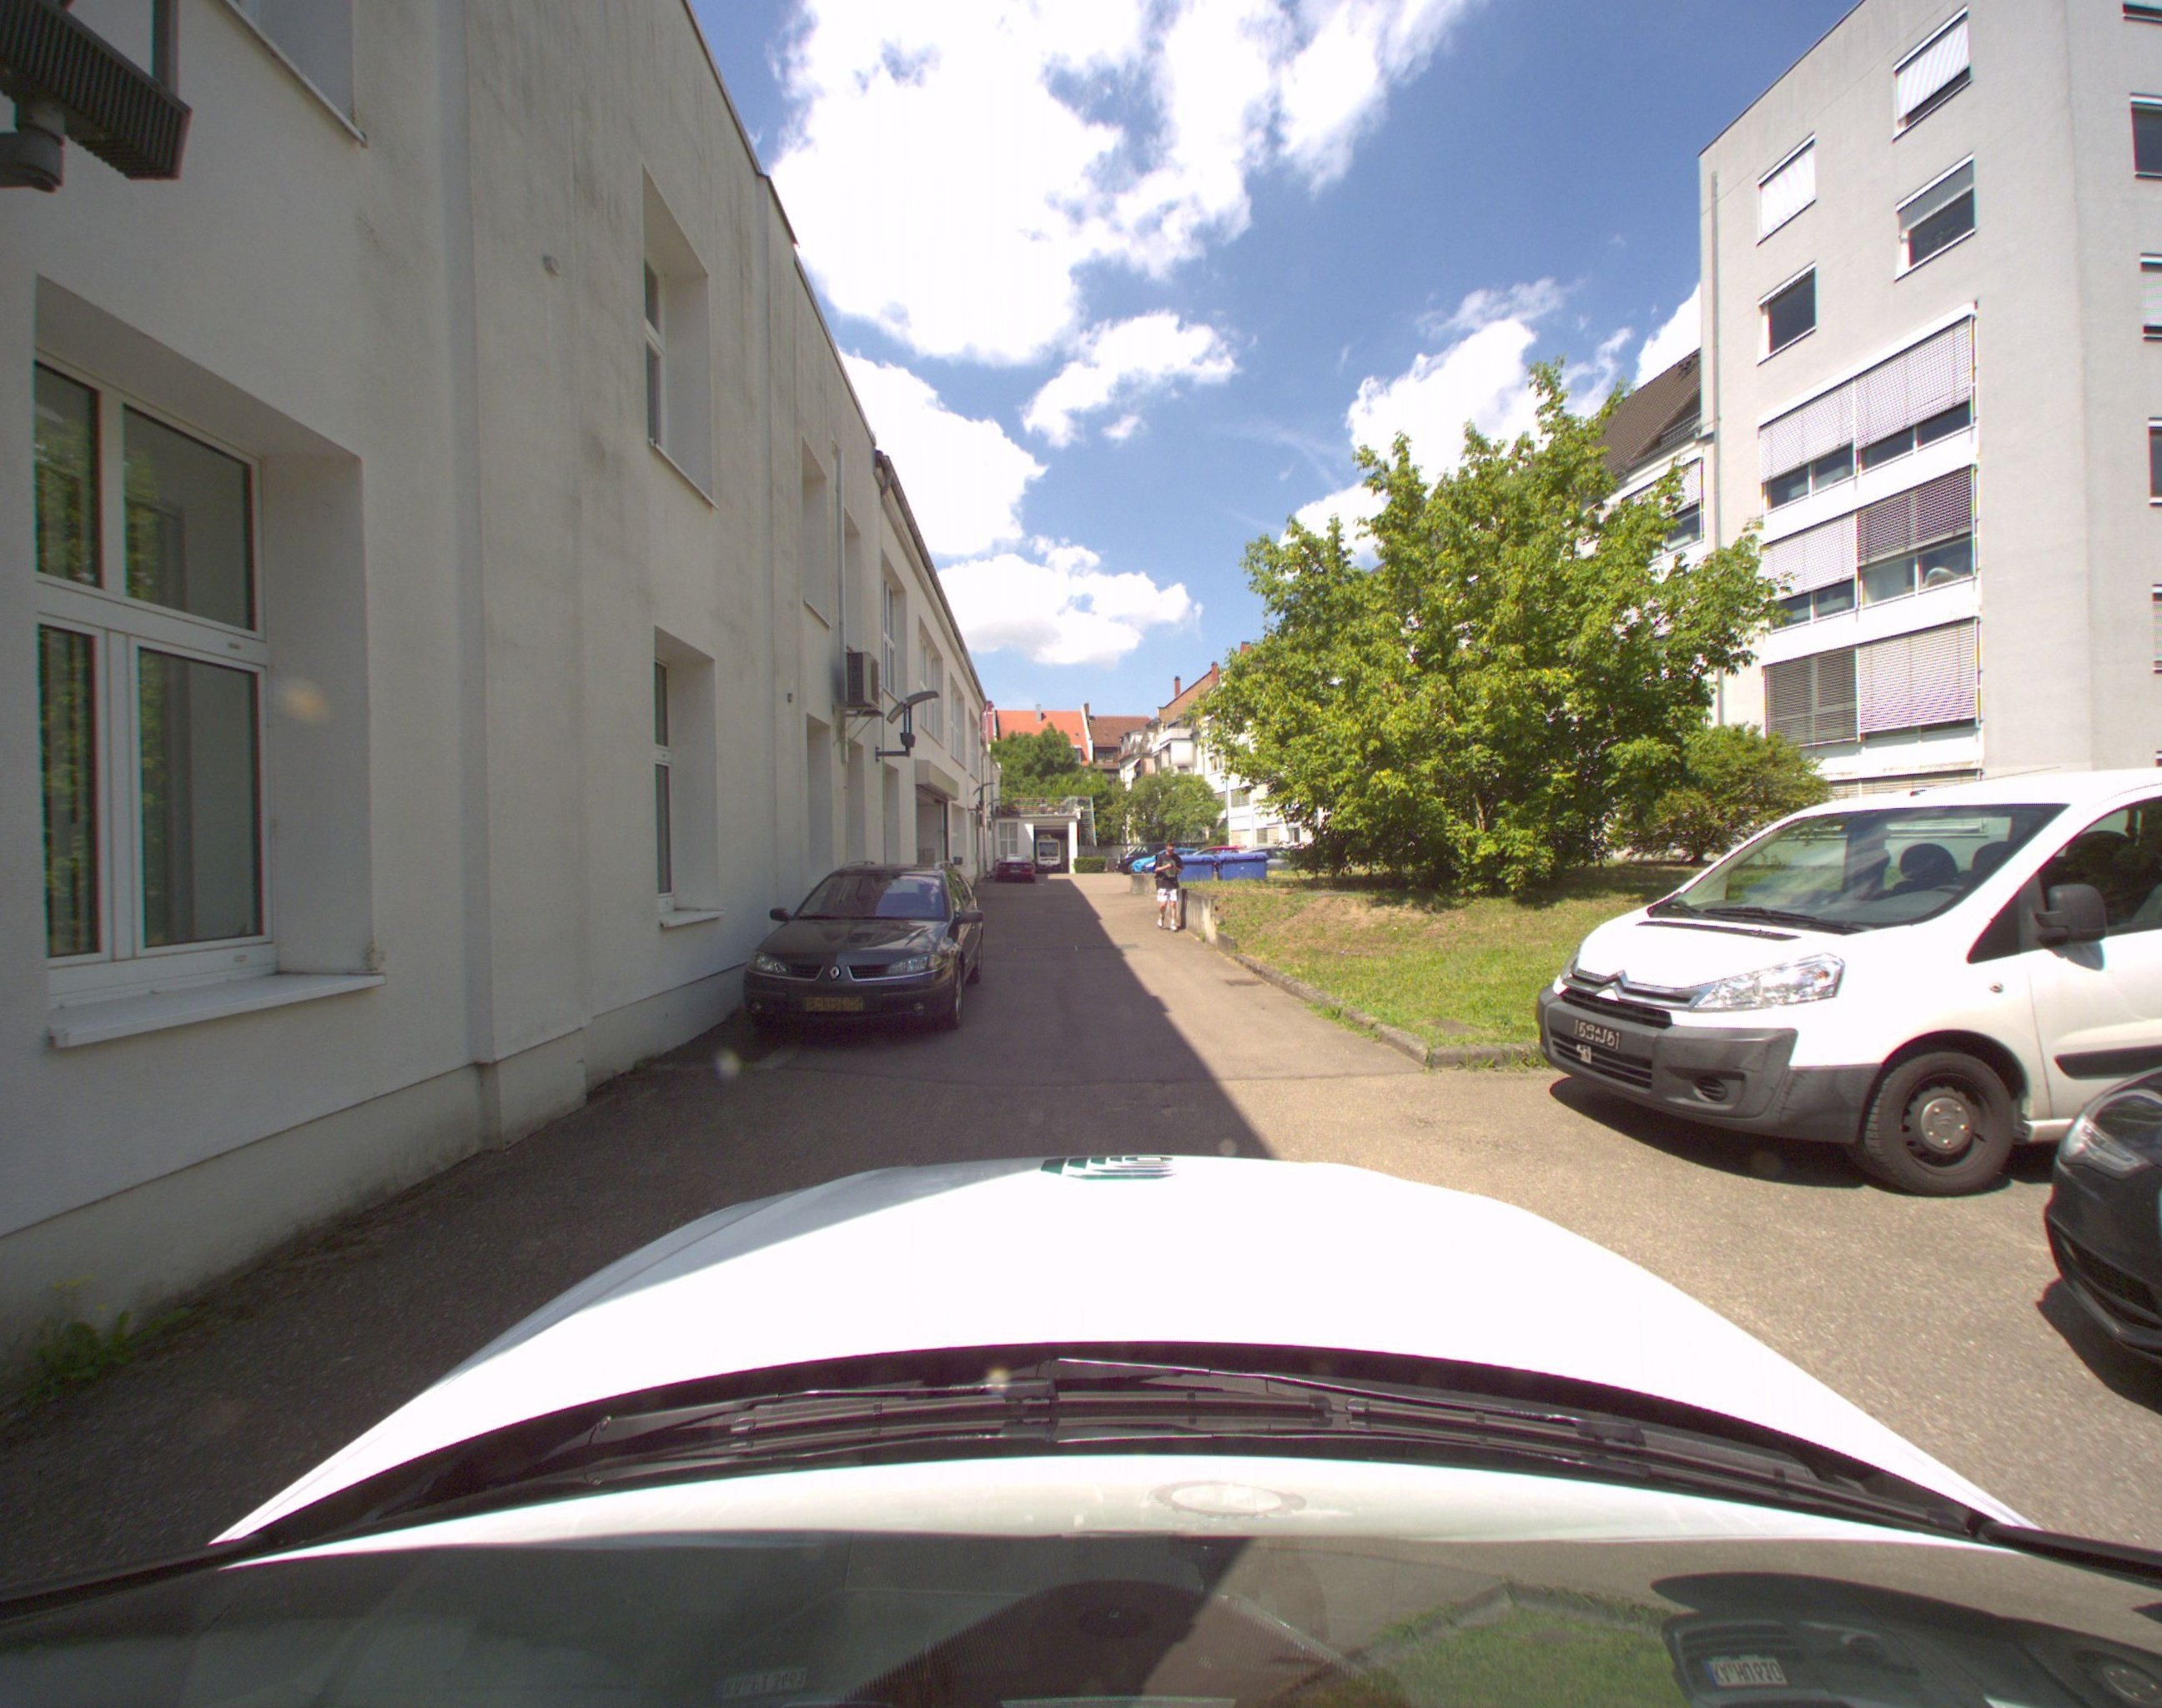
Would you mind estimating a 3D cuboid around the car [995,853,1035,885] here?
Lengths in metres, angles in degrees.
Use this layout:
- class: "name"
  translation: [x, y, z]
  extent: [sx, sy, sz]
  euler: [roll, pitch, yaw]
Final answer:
- class: "car"
  translation: [-3.197, 0.701, 40.043]
  extent: [1.795, 1.390, 3.995]
  euler: [-2, 1, -3]

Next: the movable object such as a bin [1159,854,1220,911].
- class: "movable object such as a bin"
  translation: [2.653, 0.680, 20.096]
  extent: [1.335, 1.326, 1.160]
  euler: [-2, 0, 0]

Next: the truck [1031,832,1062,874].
- class: "truck"
  translation: [-2.571, -0.065, 59.088]
  extent: [1.787, 2.937, 4.640]
  euler: [-1, 0, -8]

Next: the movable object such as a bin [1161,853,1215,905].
- class: "movable object such as a bin"
  translation: [2.861, 0.646, 21.859]
  extent: [1.190, 1.326, 1.159]
  euler: [-2, 0, -5]

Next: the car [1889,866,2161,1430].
- class: "car"
  translation: [4.965, 0.698, 1.864]
  extent: [4.601, 1.352, 1.832]
  euler: [-1, 1, -3]

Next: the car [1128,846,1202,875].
- class: "car"
  translation: [4.864, 0.364, 47.424]
  extent: [3.980, 1.534, 1.802]
  euler: [-2, 0, -5]

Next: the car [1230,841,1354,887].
- class: "car"
  translation: [7.632, 0.344, 29.647]
  extent: [3.980, 1.478, 1.802]
  euler: [-2, 0, -5]

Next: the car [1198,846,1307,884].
- class: "car"
  translation: [6.941, 0.434, 33.124]
  extent: [3.980, 1.390, 1.802]
  euler: [-2, 0, -5]

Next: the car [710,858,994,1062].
- class: "car"
  translation: [-1.960, 0.809, 8.362]
  extent: [1.750, 1.429, 4.384]
  euler: [-1, 1, -2]

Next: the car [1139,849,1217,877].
- class: "car"
  translation: [5.258, 0.468, 44.465]
  extent: [3.980, 1.390, 1.802]
  euler: [-2, 0, -5]

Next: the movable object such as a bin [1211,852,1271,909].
- class: "movable object such as a bin"
  translation: [3.942, 0.632, 20.192]
  extent: [1.212, 1.326, 1.160]
  euler: [-2, 0, -1]

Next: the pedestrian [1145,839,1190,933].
- class: "pedestrian"
  translation: [1.665, 0.602, 15.768]
  extent: [0.755, 1.755, 0.751]
  euler: [-1, 0, -2]

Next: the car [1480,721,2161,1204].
- class: "car"
  translation: [5.096, 0.416, 4.579]
  extent: [4.748, 2.013, 1.998]
  euler: [-1, 0, -3]

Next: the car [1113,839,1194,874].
- class: "car"
  translation: [4.471, 0.124, 50.443]
  extent: [4.669, 1.958, 2.073]
  euler: [-2, 0, -5]

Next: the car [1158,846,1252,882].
- class: "car"
  translation: [5.727, 0.451, 37.847]
  extent: [3.980, 1.478, 1.802]
  euler: [-2, 0, -5]

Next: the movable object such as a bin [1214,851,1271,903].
- class: "movable object such as a bin"
  translation: [4.326, 0.592, 21.913]
  extent: [1.214, 1.326, 1.159]
  euler: [-2, 0, -5]
